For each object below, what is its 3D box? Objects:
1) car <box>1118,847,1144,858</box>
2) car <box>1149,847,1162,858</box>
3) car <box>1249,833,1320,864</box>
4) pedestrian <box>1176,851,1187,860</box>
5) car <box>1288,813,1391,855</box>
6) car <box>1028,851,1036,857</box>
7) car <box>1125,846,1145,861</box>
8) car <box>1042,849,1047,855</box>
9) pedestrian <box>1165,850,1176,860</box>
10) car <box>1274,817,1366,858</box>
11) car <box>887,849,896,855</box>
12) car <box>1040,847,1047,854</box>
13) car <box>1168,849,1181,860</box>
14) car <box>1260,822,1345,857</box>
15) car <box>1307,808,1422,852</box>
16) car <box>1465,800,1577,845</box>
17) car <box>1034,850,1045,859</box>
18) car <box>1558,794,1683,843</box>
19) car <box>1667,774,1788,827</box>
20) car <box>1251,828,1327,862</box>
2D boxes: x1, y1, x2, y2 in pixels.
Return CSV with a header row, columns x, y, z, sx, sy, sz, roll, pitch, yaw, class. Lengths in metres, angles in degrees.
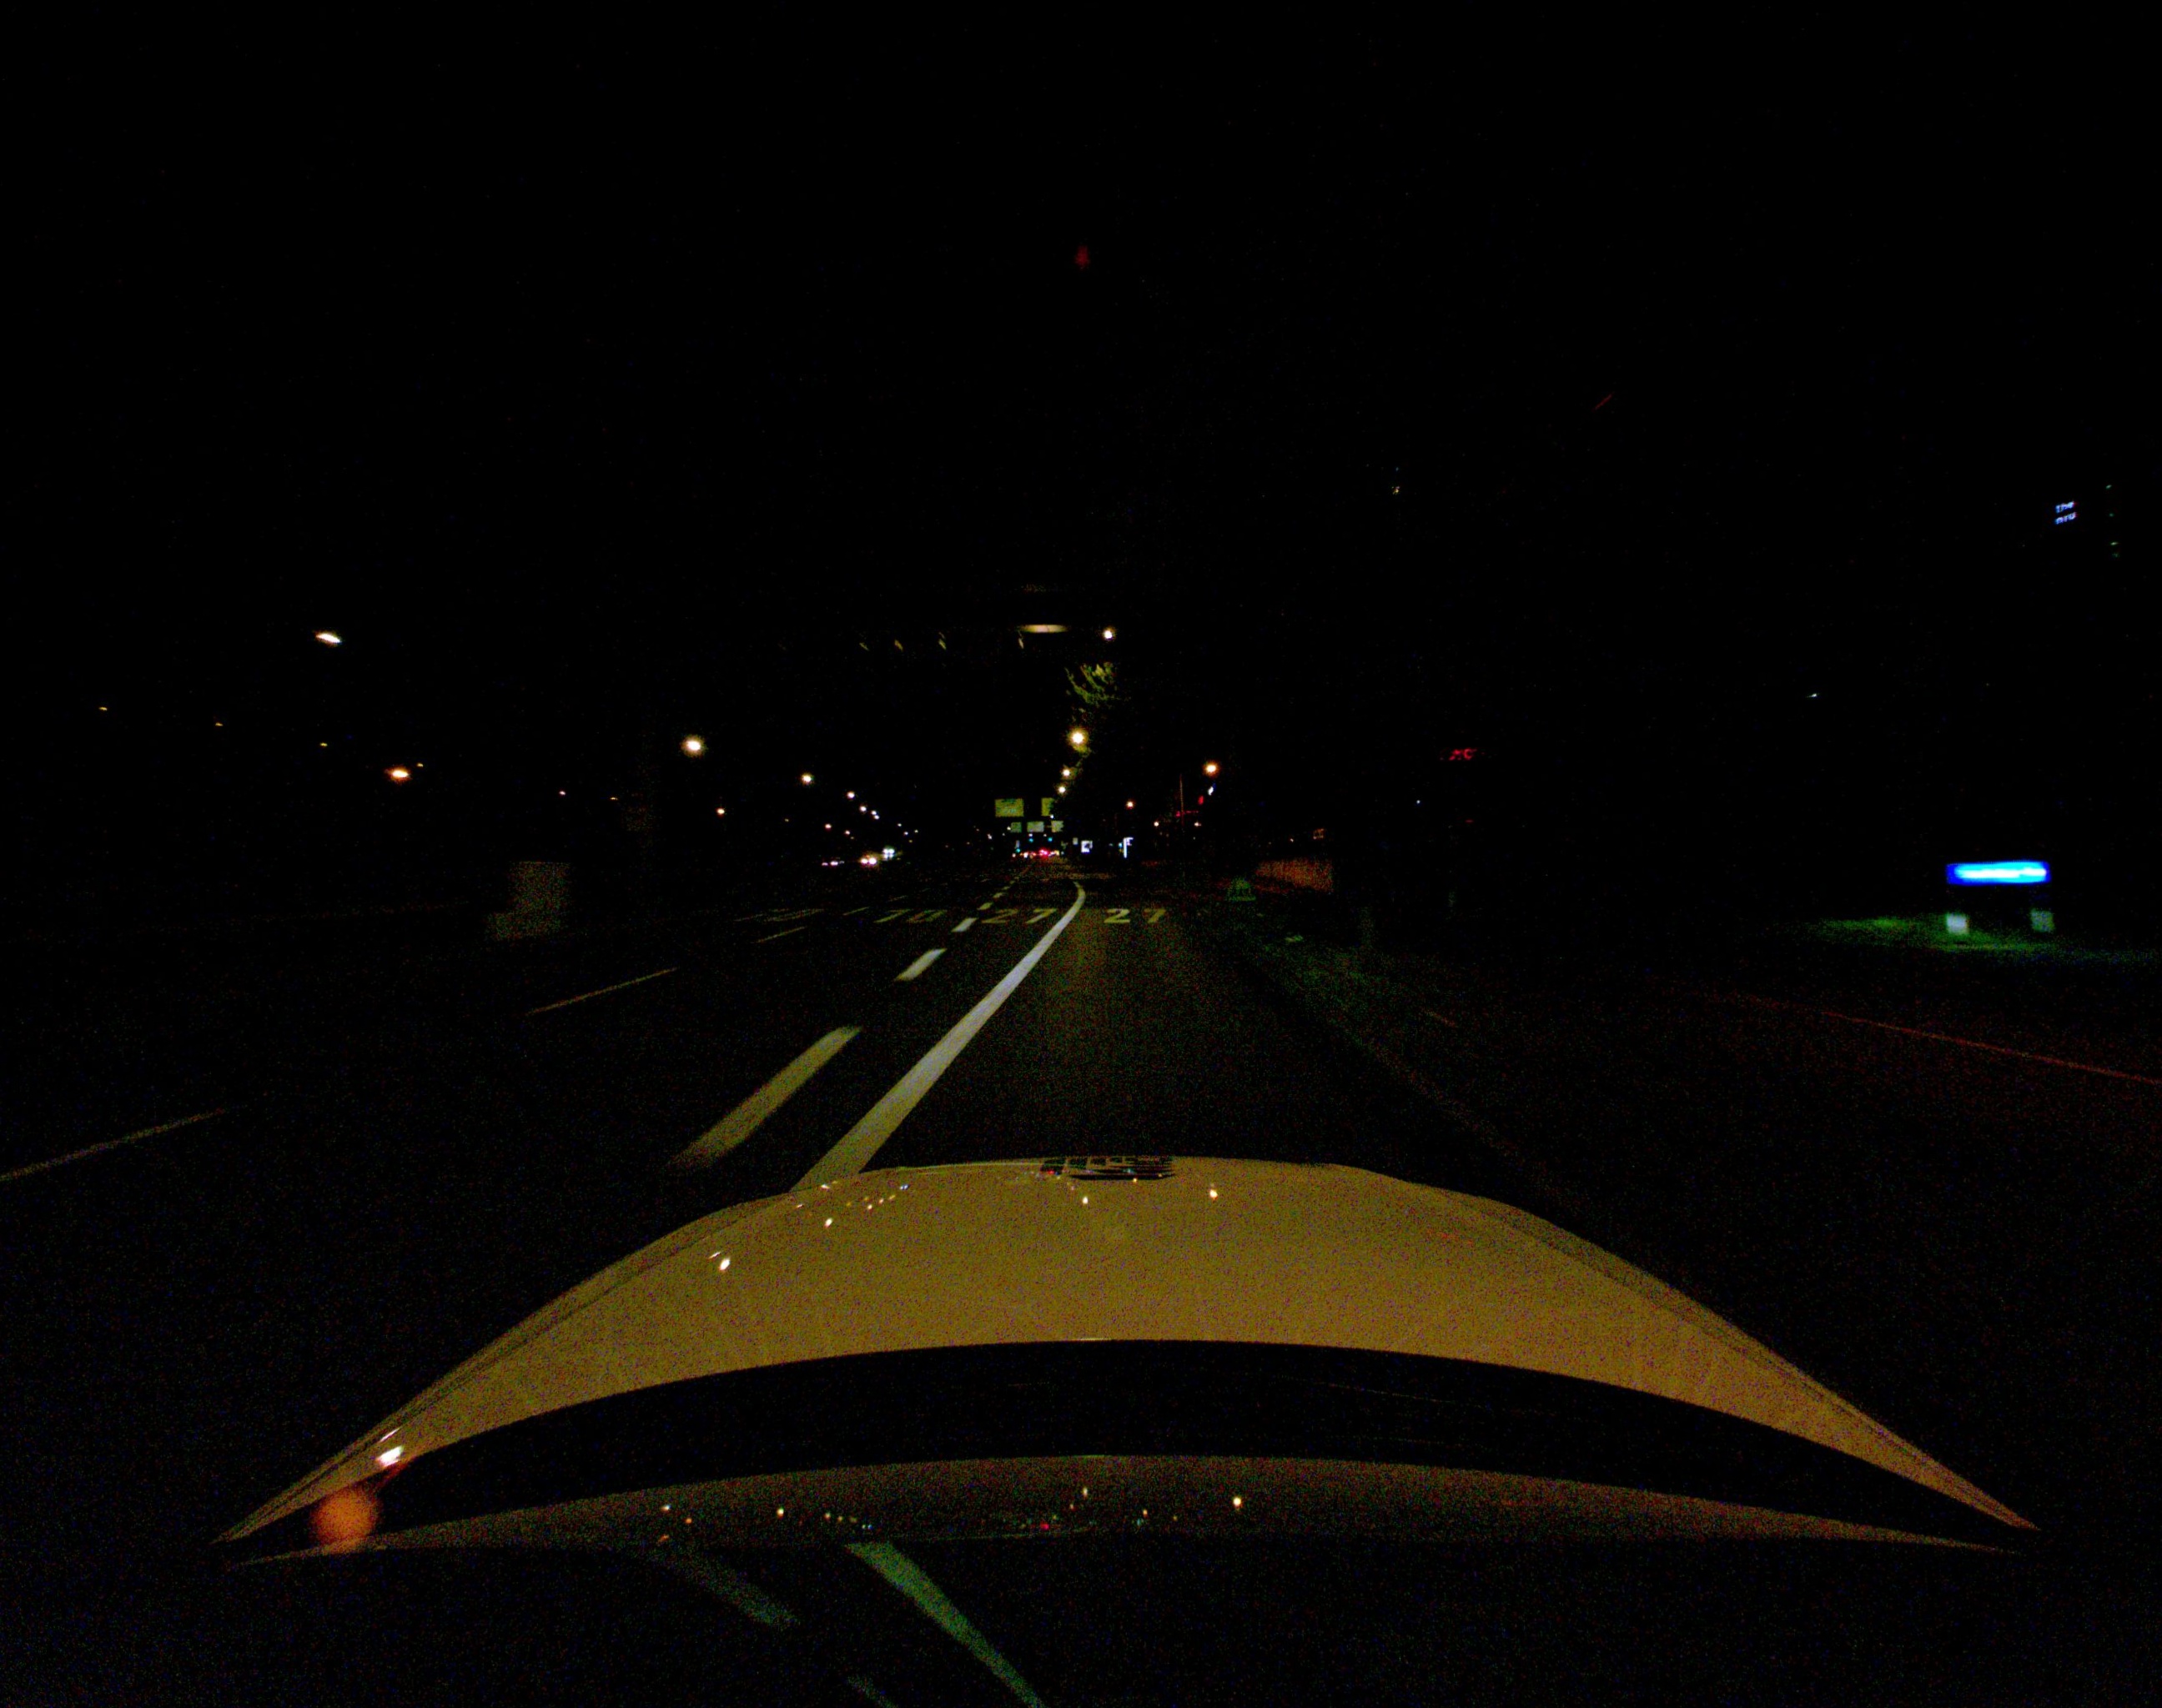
x,y,z,sx,sy,sz,roll,pitch,yaw,class
7.131,-0.222,116.427,3.620,1.451,1.703,0,-2,-7,car
10.783,-0.265,118.226,1.884,1.511,3.640,0,-1,4,car
11.784,-0.328,47.048,3.858,1.490,1.722,-3,-3,-33,car
11.028,0.142,89.221,1.000,1.008,0.767,1,-2,-18,pedestrian
11.448,-0.863,36.266,3.976,1.571,1.737,-3,-2,-1,car
-13.138,0.052,218.838,1.998,1.552,4.293,0,-1,0,car
7.447,-0.028,111.440,1.979,1.945,4.015,0,-2,15,car
-11.447,-0.631,254.524,1.777,1.728,3.995,0,-1,-3,car
9.833,0.150,89.208,0.902,1.038,0.776,-3,-1,41,pedestrian
11.273,-0.752,38.555,3.740,1.587,1.777,-4,-2,-4,car
-51.375,-0.523,220.361,1.621,1.481,3.676,0,-1,-2,car
-11.522,-0.981,248.487,1.989,2.014,3.995,0,-2,-3,car
13.730,0.081,119.666,1.884,1.511,3.640,0,-1,4,car
11.105,-0.694,41.018,3.718,1.489,1.739,-3,-2,-5,car
11.708,-0.974,33.799,4.108,1.522,1.821,-3,-2,-1,car
21.180,-1.503,39.301,4.346,1.725,1.750,-5,-1,0,car
-8.330,0.176,163.824,1.962,1.711,3.999,0,-1,0,car
20.719,-1.340,31.377,3.628,1.470,1.637,-5,-2,1,car
27.377,-2.260,34.555,3.804,1.895,1.749,-3,-1,-6,car
11.144,-0.493,43.755,3.559,1.570,1.722,-3,-1,-7,car
